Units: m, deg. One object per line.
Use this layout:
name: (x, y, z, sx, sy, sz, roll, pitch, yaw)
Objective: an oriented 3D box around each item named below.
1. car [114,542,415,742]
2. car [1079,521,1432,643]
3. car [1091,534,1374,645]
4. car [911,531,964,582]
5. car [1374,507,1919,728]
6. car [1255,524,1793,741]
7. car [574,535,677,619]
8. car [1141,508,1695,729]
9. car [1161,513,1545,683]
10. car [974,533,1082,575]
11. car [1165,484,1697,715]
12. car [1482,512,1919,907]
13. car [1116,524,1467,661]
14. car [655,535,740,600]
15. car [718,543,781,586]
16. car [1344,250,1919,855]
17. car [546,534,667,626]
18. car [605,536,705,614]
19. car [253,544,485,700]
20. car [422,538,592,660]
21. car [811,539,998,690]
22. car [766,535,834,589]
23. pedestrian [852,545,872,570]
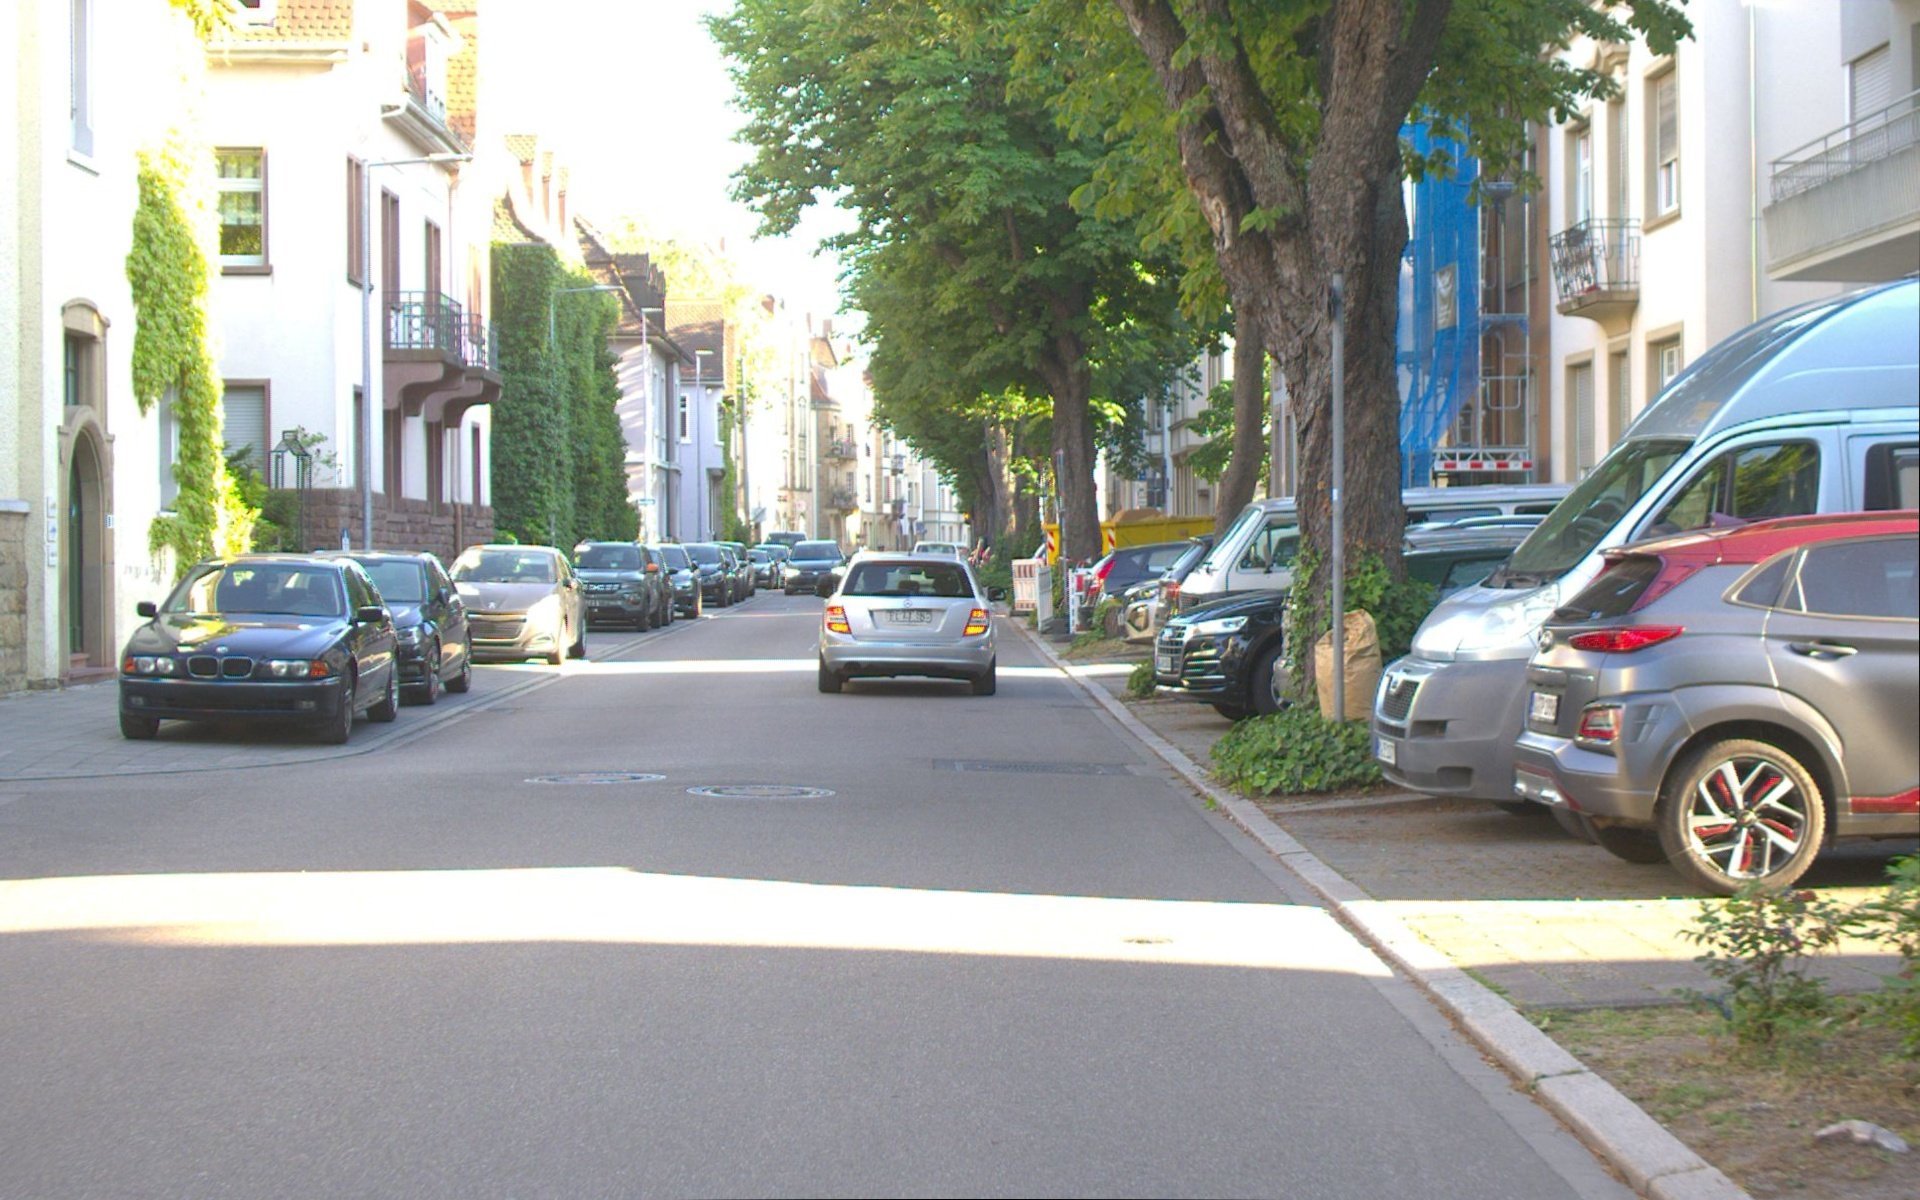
car: (-5.627, 0.279, 28.323, 1.709, 1.465, 4.634, 1, 1, -2)
car: (4.082, -0.258, 48.051, 4.718, 1.530, 1.851, -2, 1, 0)
car: (3.957, -0.167, 50.416, 3.987, 1.487, 1.851, -2, 1, 1)
car: (-0.678, -1.374, 106.858, 1.623, 1.564, 3.680, 0, 1, 0)
car: (4.825, 0.118, 23.498, 3.720, 1.426, 1.759, 0, 0, -2)
car: (4.166, 0.229, 25.769, 3.720, 1.549, 1.639, 0, 0, -2)
car: (-6.029, -0.447, 62.275, 1.653, 1.442, 3.845, 1, 1, -3)
car: (3.710, 0.133, 28.183, 4.174, 1.717, 1.766, 0, 0, -8)
car: (4.170, -0.043, 36.912, 3.949, 1.677, 1.705, -1, 1, 3)
car: (2.705, -1.812, 135.740, 4.190, 1.470, 1.851, -2, 1, 2)
car: (4.171, -0.021, 30.914, 4.469, 2.007, 1.896, 0, 1, -2)
car: (4.545, 0.390, 14.997, 4.188, 1.563, 1.759, -2, 1, -2)
car: (4.097, -0.107, 42.973, 4.155, 1.534, 1.851, -2, 1, 0)
car: (-6.042, -0.767, 79.357, 1.649, 1.416, 4.099, 1, 1, 0)
car: (-6.683, -1.132, 109.443, 1.653, 1.319, 4.045, 1, 1, 2)
car: (4.686, -0.275, 17.752, 5.094, 2.892, 2.076, -1, 1, -2)
car: (-5.930, -0.364, 57.996, 1.653, 1.480, 3.764, 1, 1, 0)
car: (-6.018, -0.521, 68.257, 1.792, 1.456, 4.778, 1, 1, -3)
car: (-5.786, 0.171, 34.092, 1.653, 1.410, 4.168, 1, 1, -1)
car: (-5.739, -0.048, 43.951, 1.653, 1.442, 4.005, 1, 1, 0)
car: (-0.537, 0.129, 35.005, 1.784, 1.432, 3.851, 1, 0, 0)
car: (-4.470, -1.071, 96.337, 1.772, 1.443, 4.000, -1, 1, -1)
pedestrian: (-6.889, -2.983, 241.845, 1.221, 1.716, 1.503, 1, 1, 3)
